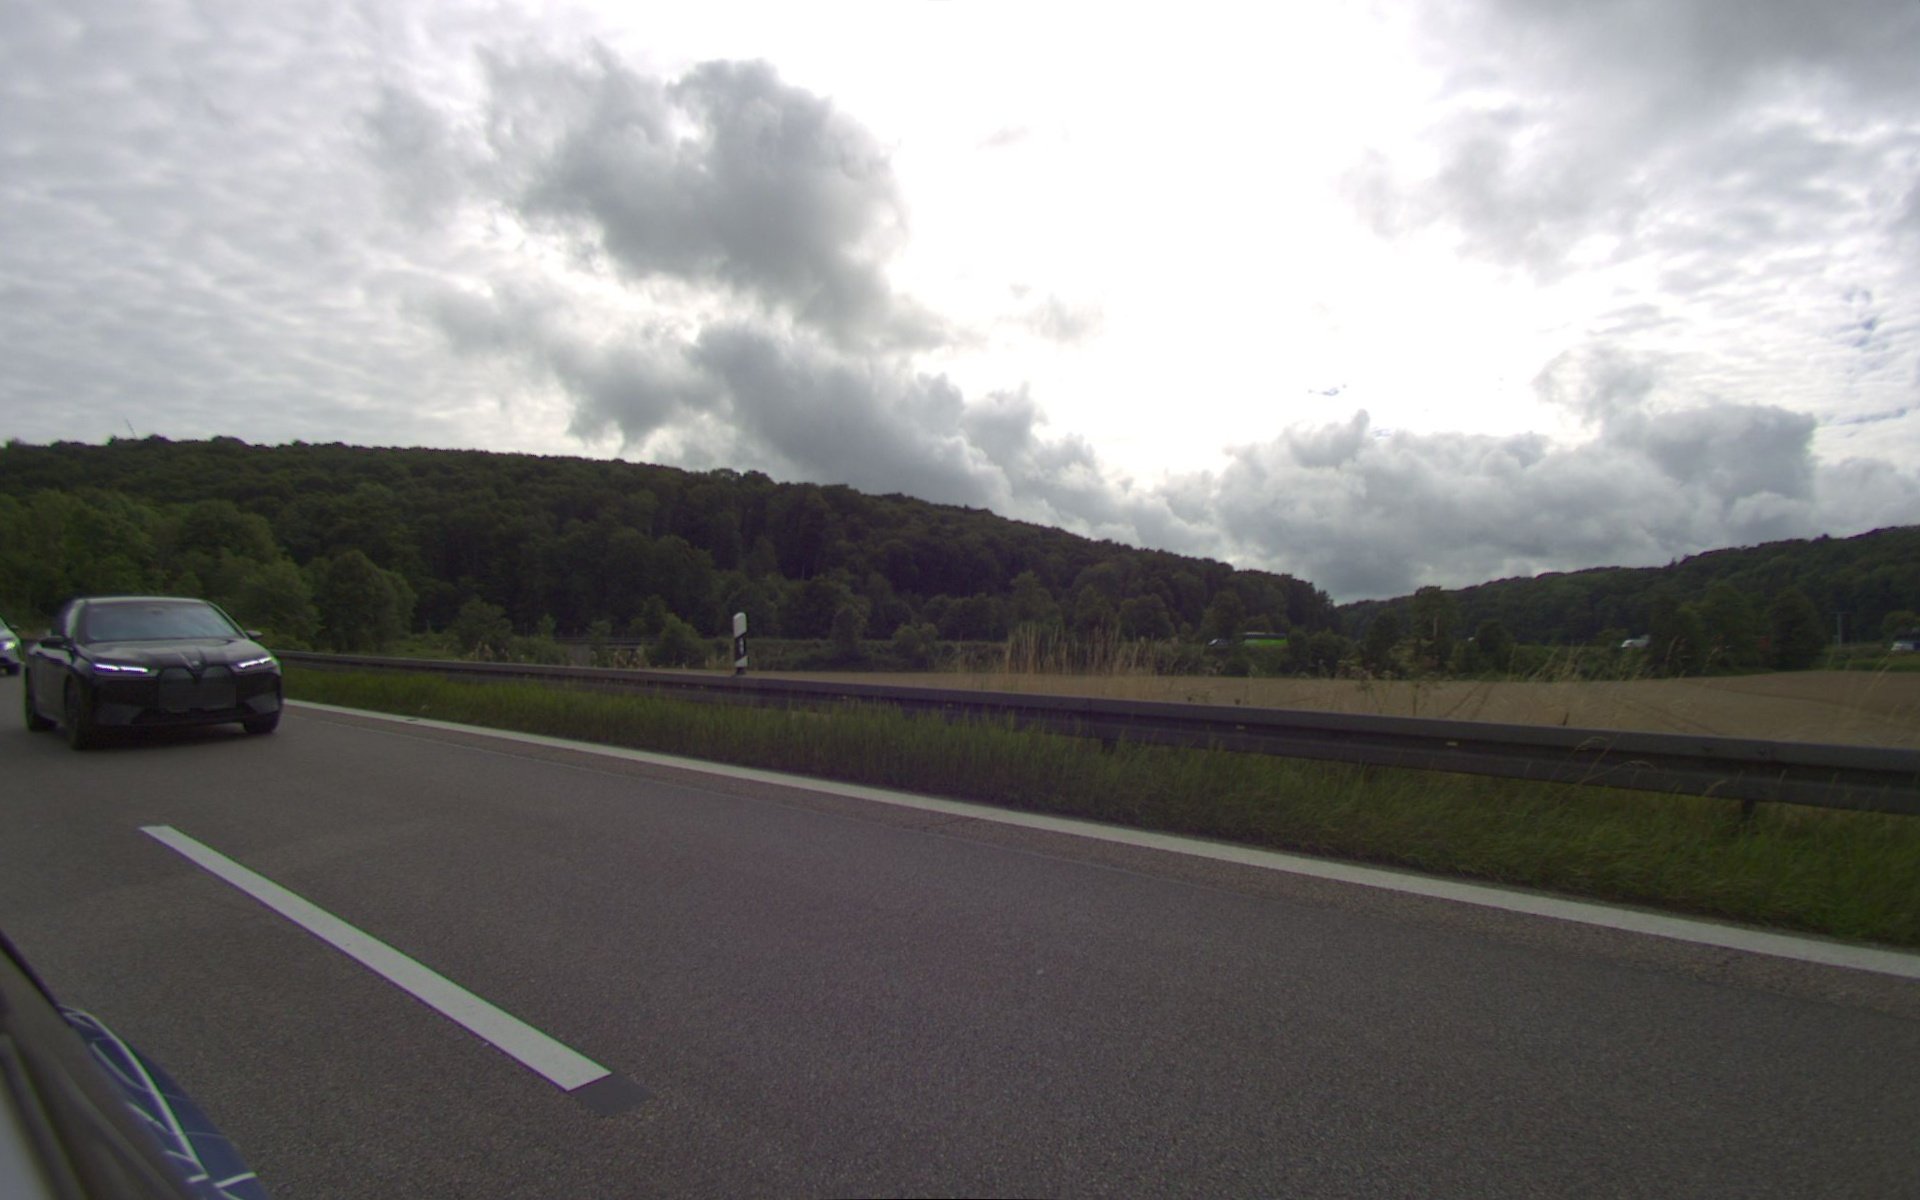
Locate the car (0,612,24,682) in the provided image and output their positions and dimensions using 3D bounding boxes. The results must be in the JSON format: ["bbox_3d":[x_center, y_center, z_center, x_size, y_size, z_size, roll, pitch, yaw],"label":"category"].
[{"bbox_3d":[-25.527,1.157,25.705,4.411,1.678,1.974,0,-1,40],"label":"car"}]

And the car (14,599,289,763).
[{"bbox_3d":[-10.157,0.854,12.588,4.413,1.678,1.972,-1,0,42],"label":"car"}]
